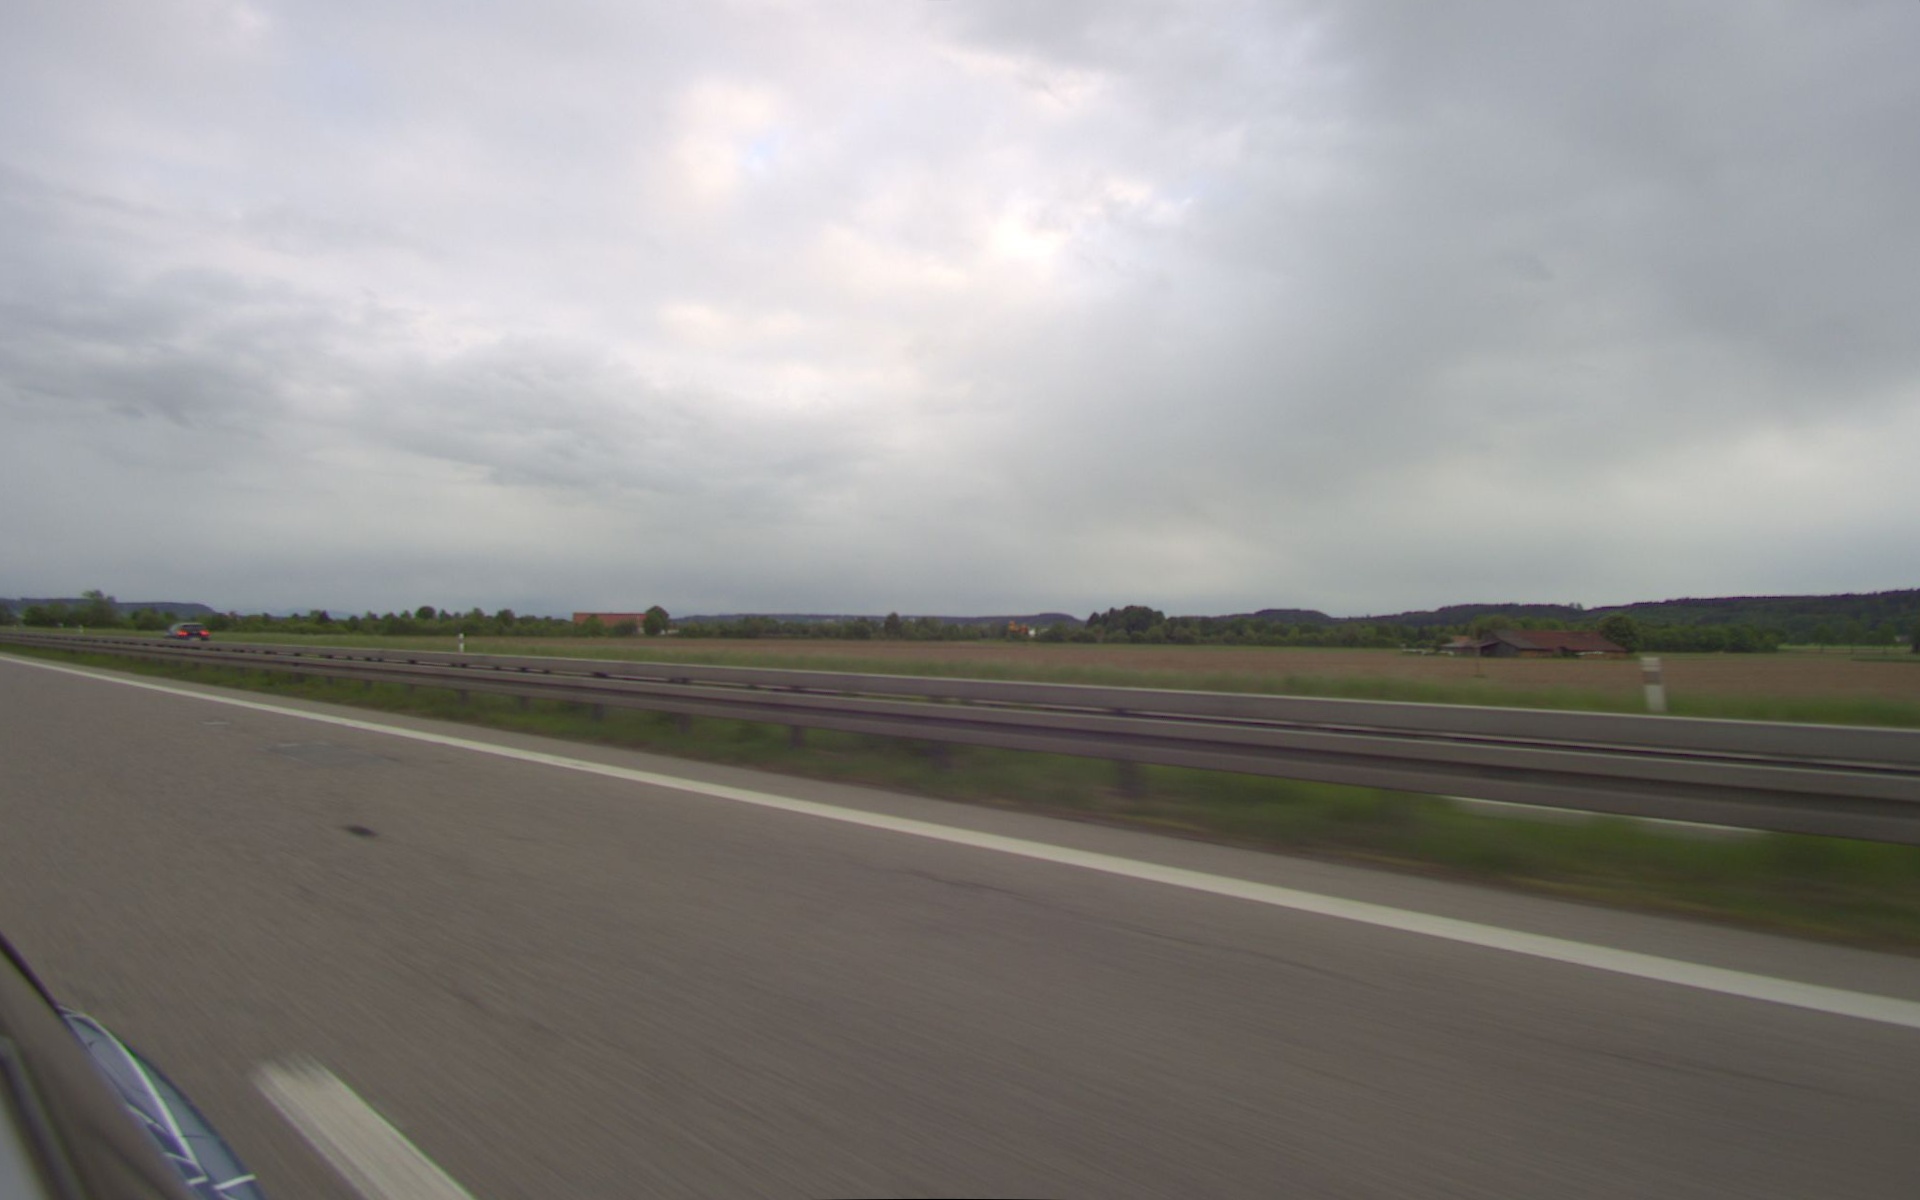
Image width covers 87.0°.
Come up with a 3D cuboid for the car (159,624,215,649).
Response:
[{"bbox_3d":[-48.691,2.288,63.708,4.449,1.491,1.973,-1,0,41],"label":"car"}]
